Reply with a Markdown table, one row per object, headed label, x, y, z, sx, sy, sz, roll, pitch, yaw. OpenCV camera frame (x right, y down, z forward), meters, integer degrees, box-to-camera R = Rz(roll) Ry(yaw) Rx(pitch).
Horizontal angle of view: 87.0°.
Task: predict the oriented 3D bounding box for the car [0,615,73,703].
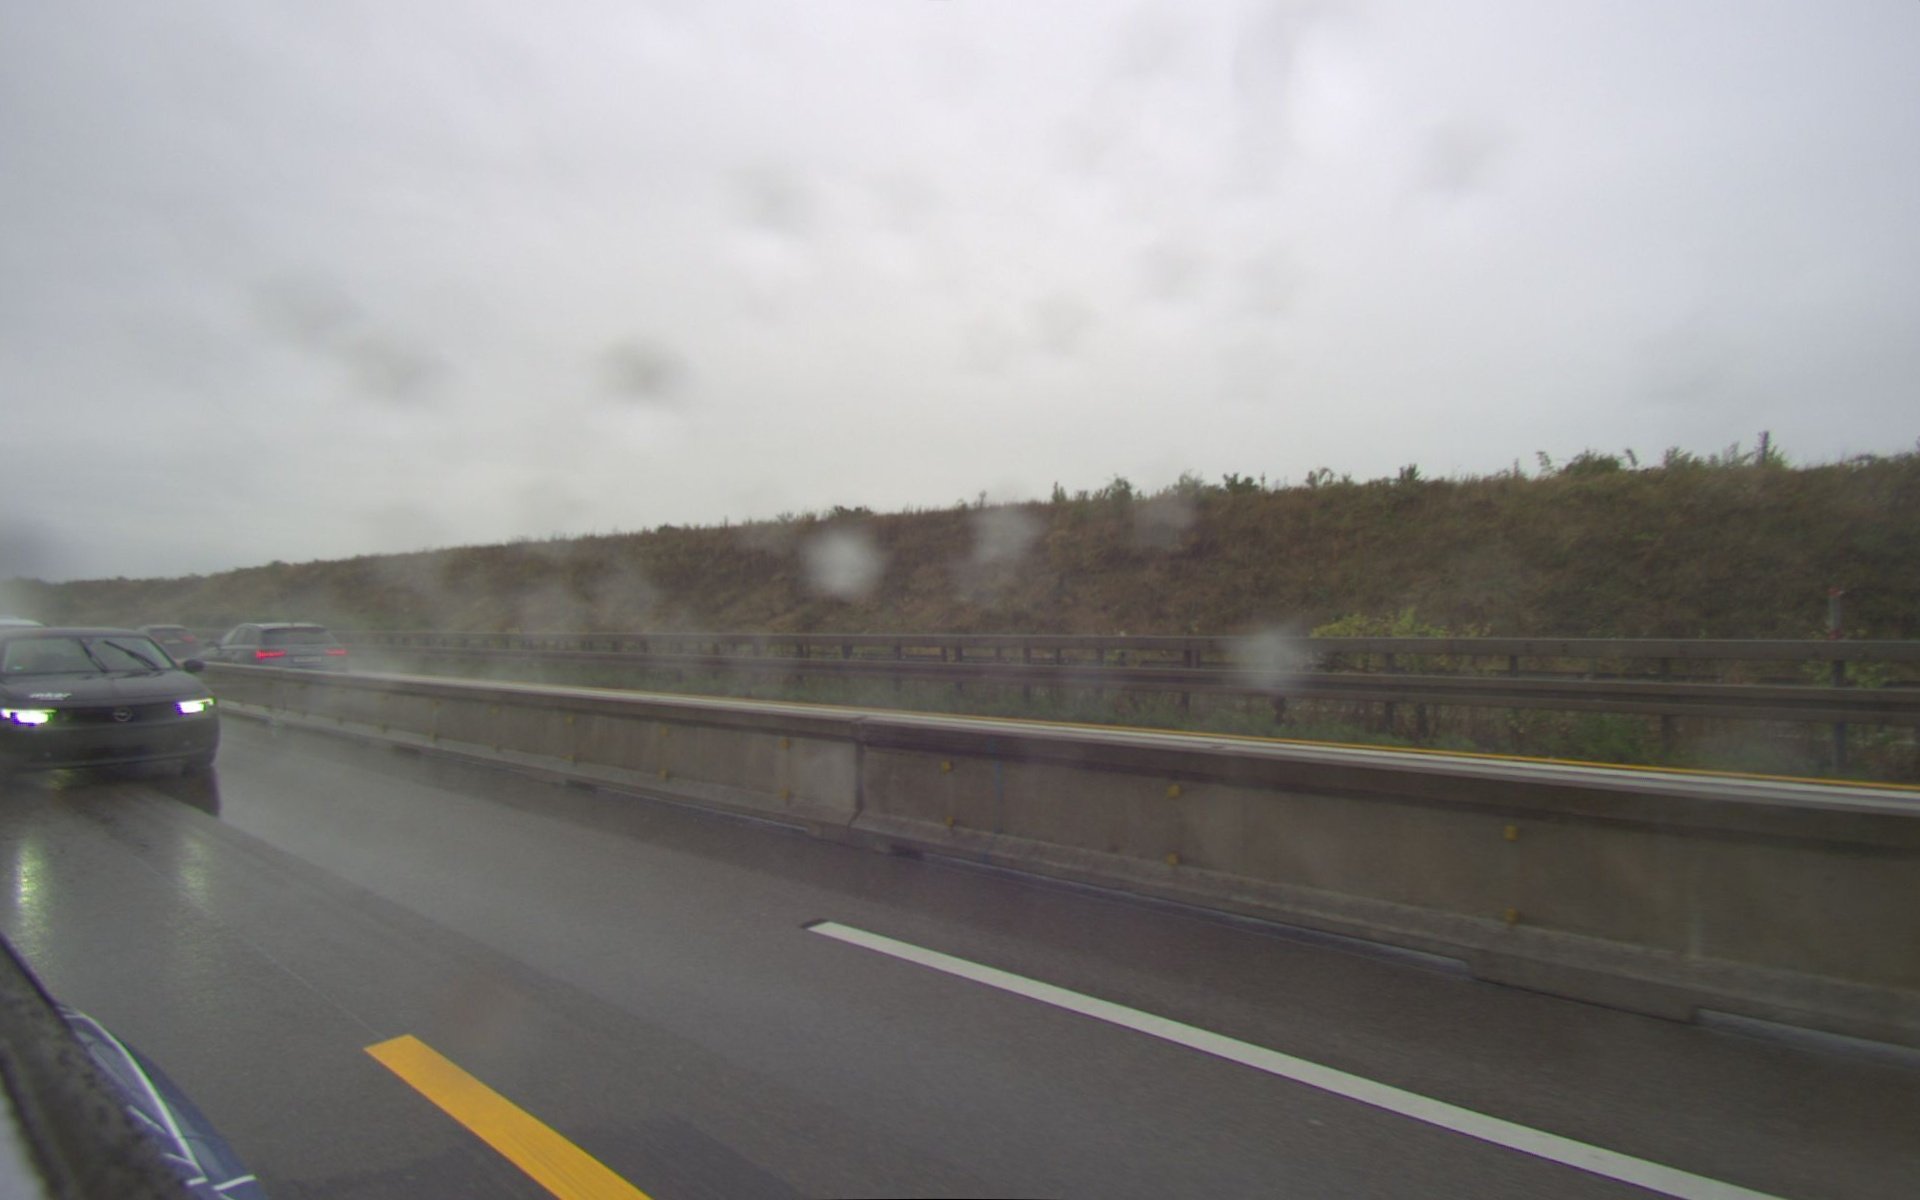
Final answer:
| label | x | y | z | sx | sy | sz | roll | pitch | yaw |
| --- | --- | --- | --- | --- | --- | --- | --- | --- | --- |
| car | -20.012 | 1.158 | 20.936 | 3.998 | 1.693 | 1.946 | -1 | -2 | 41 |

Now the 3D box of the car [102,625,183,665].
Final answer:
| label | x | y | z | sx | sy | sz | roll | pitch | yaw |
| --- | --- | --- | --- | --- | --- | --- | --- | --- | --- |
| car | -32.571 | 1.742 | 40.276 | 4.694 | 1.471 | 1.743 | -1 | -1 | 41 |

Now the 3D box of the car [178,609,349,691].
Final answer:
| label | x | y | z | sx | sy | sz | roll | pitch | yaw |
| --- | --- | --- | --- | --- | --- | --- | --- | --- | --- |
| car | -14.801 | 0.988 | 21.400 | 4.946 | 1.539 | 1.743 | -1 | -1 | 40 |

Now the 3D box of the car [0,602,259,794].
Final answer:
| label | x | y | z | sx | sy | sz | roll | pitch | yaw |
| --- | --- | --- | --- | --- | --- | --- | --- | --- | --- |
| car | -8.982 | 0.832 | 10.275 | 4.793 | 1.539 | 1.919 | -1 | -2 | 41 |
